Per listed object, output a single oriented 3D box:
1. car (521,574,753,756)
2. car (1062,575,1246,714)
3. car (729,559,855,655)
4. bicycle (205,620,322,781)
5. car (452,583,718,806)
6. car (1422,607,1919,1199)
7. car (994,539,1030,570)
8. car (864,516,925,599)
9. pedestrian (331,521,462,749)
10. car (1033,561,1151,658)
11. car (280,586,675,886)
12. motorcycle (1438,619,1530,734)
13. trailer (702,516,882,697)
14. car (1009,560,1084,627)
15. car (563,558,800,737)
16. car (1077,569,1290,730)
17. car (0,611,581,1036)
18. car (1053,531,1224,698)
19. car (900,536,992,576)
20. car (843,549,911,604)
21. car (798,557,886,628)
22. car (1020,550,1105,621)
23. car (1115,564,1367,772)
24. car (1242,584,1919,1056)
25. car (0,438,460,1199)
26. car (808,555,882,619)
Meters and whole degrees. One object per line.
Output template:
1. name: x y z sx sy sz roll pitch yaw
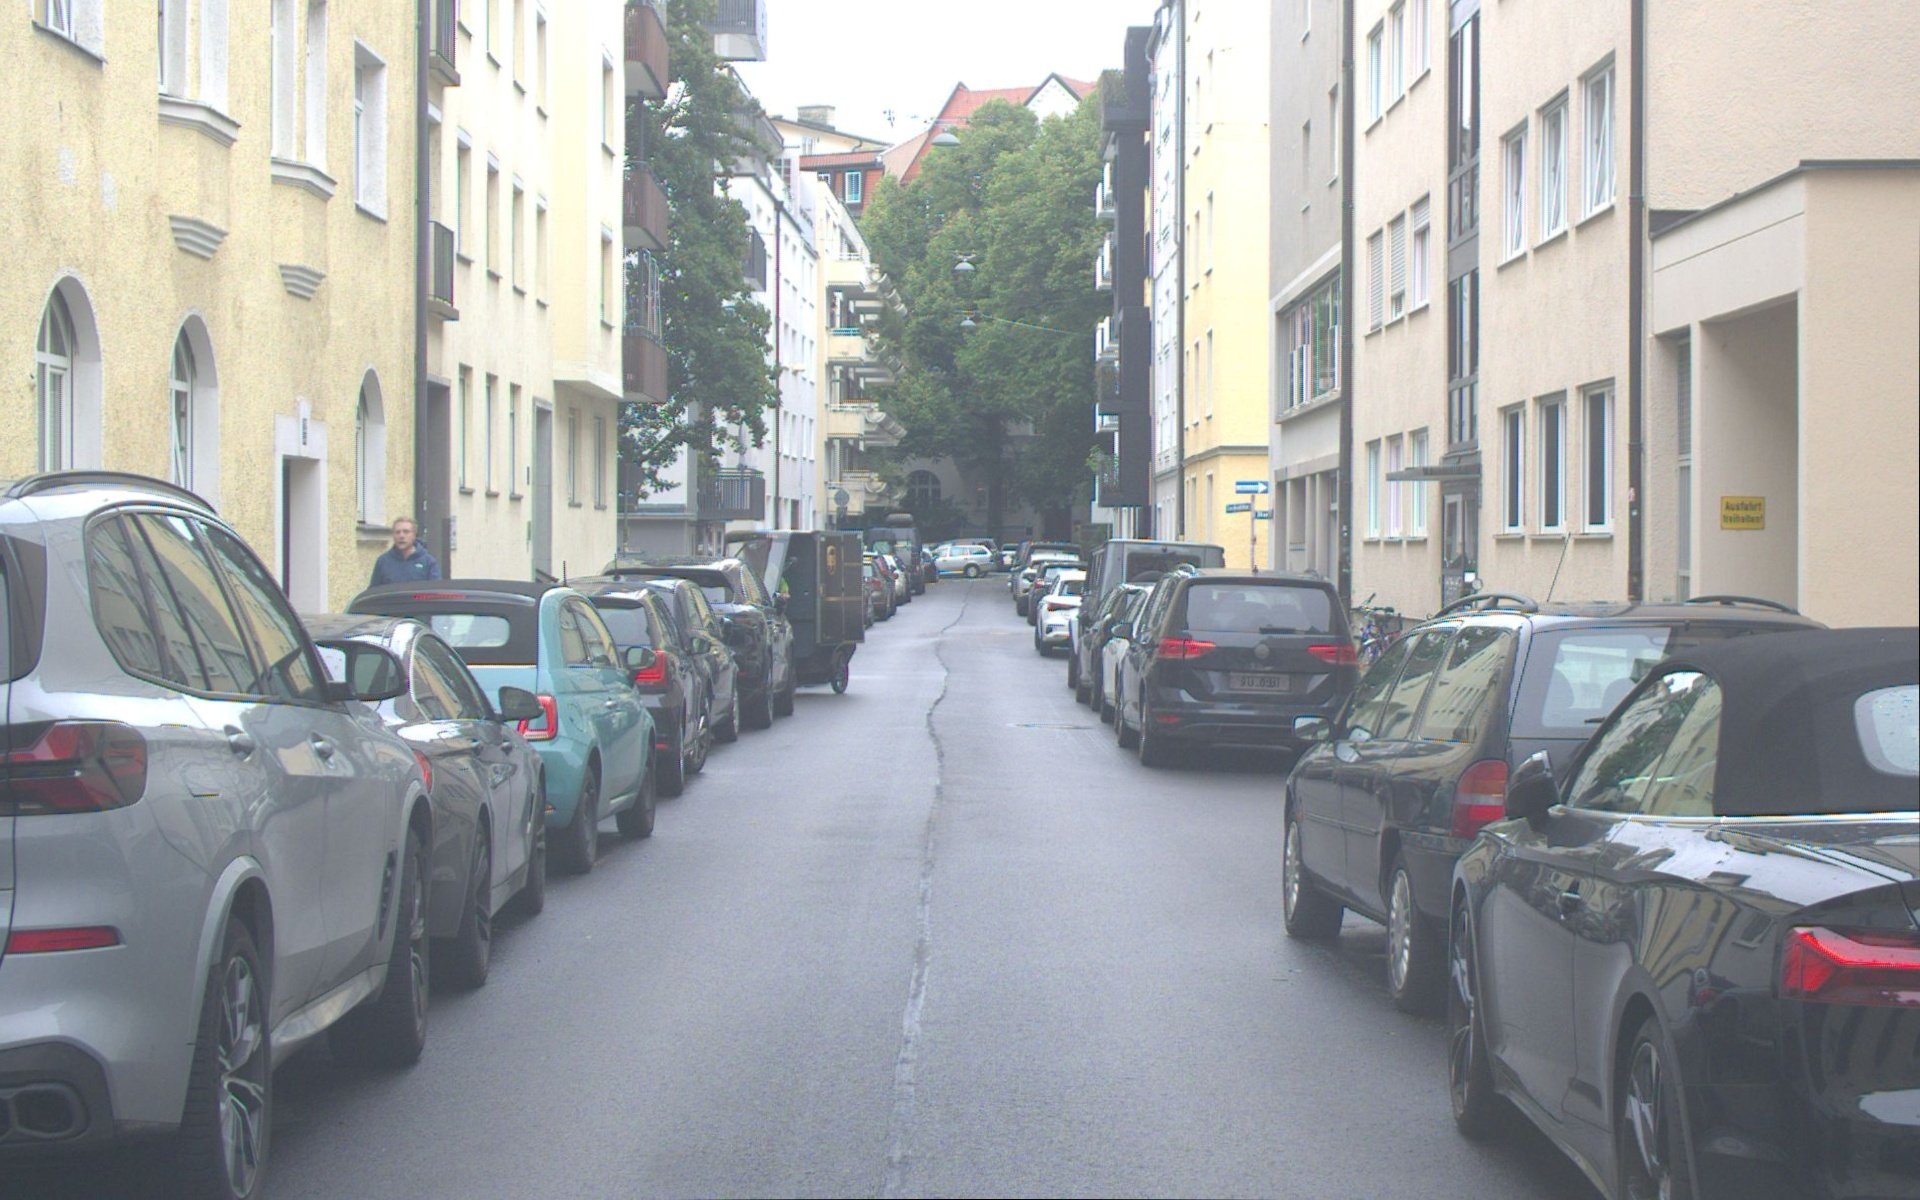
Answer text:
1. car: -2.727 0.517 29.638 1.563 1.455 3.475 -1 1 2
2. car: 2.189 0.474 39.765 1.711 1.481 4.244 1 0 -2
3. car: -2.772 0.093 57.667 1.766 1.478 4.424 -1 1 2
4. bicycle: -5.621 0.793 27.810 0.593 1.229 1.736 1 0 -1
5. car: -2.633 0.619 24.801 1.563 1.455 3.764 -1 1 -1
6. car: 2.204 0.754 7.653 1.833 1.401 4.411 1 0 1
7. car: 2.525 -2.207 166.634 1.642 1.379 3.746 -2 1 0
8. car: -2.274 -1.513 121.048 1.936 2.792 4.533 -2 1 0
9. pedestrian: -4.462 0.266 27.293 0.839 1.758 1.068 1 0 0
10. car: 2.250 0.137 59.432 1.819 1.403 3.953 1 3 -1
11. car: -2.539 0.668 18.776 1.563 1.455 3.404 -1 1 2
12. motorcycle: 4.797 0.690 31.577 0.481 0.964 1.911 -4 1 0
13. trailer: -2.016 0.058 42.023 1.356 2.108 3.316 1 1 12
14. car: 2.232 -0.186 89.506 1.682 1.562 4.416 3 1 -1
15. car: -2.714 0.423 34.432 1.879 1.654 4.414 -1 1 2
16. car: 2.193 0.455 34.751 1.711 1.481 4.244 1 0 -2
17. car: -2.666 0.782 14.008 1.811 1.381 4.251 -2 0 -1
18. car: 2.254 0.134 44.403 1.750 1.968 4.343 3 1 -2
19. car: -0.616 -1.920 149.614 3.885 1.579 1.648 -2 1 0
20. car: -2.429 -0.702 101.354 1.777 1.482 4.519 -2 1 1
21. car: -2.534 -0.183 74.494 1.693 1.437 3.942 -1 1 1
22. car: 2.343 -0.358 79.516 1.751 1.464 4.343 3 1 0
23. car: 2.316 0.524 29.281 1.711 1.602 4.244 1 0 -1
24. car: 2.250 0.696 13.260 1.716 1.466 4.532 1 0 -3
25. car: -2.558 0.580 9.013 1.862 1.764 4.736 -2 0 -1
26. car: -2.726 -0.330 82.227 1.693 1.437 3.978 -1 1 -1
